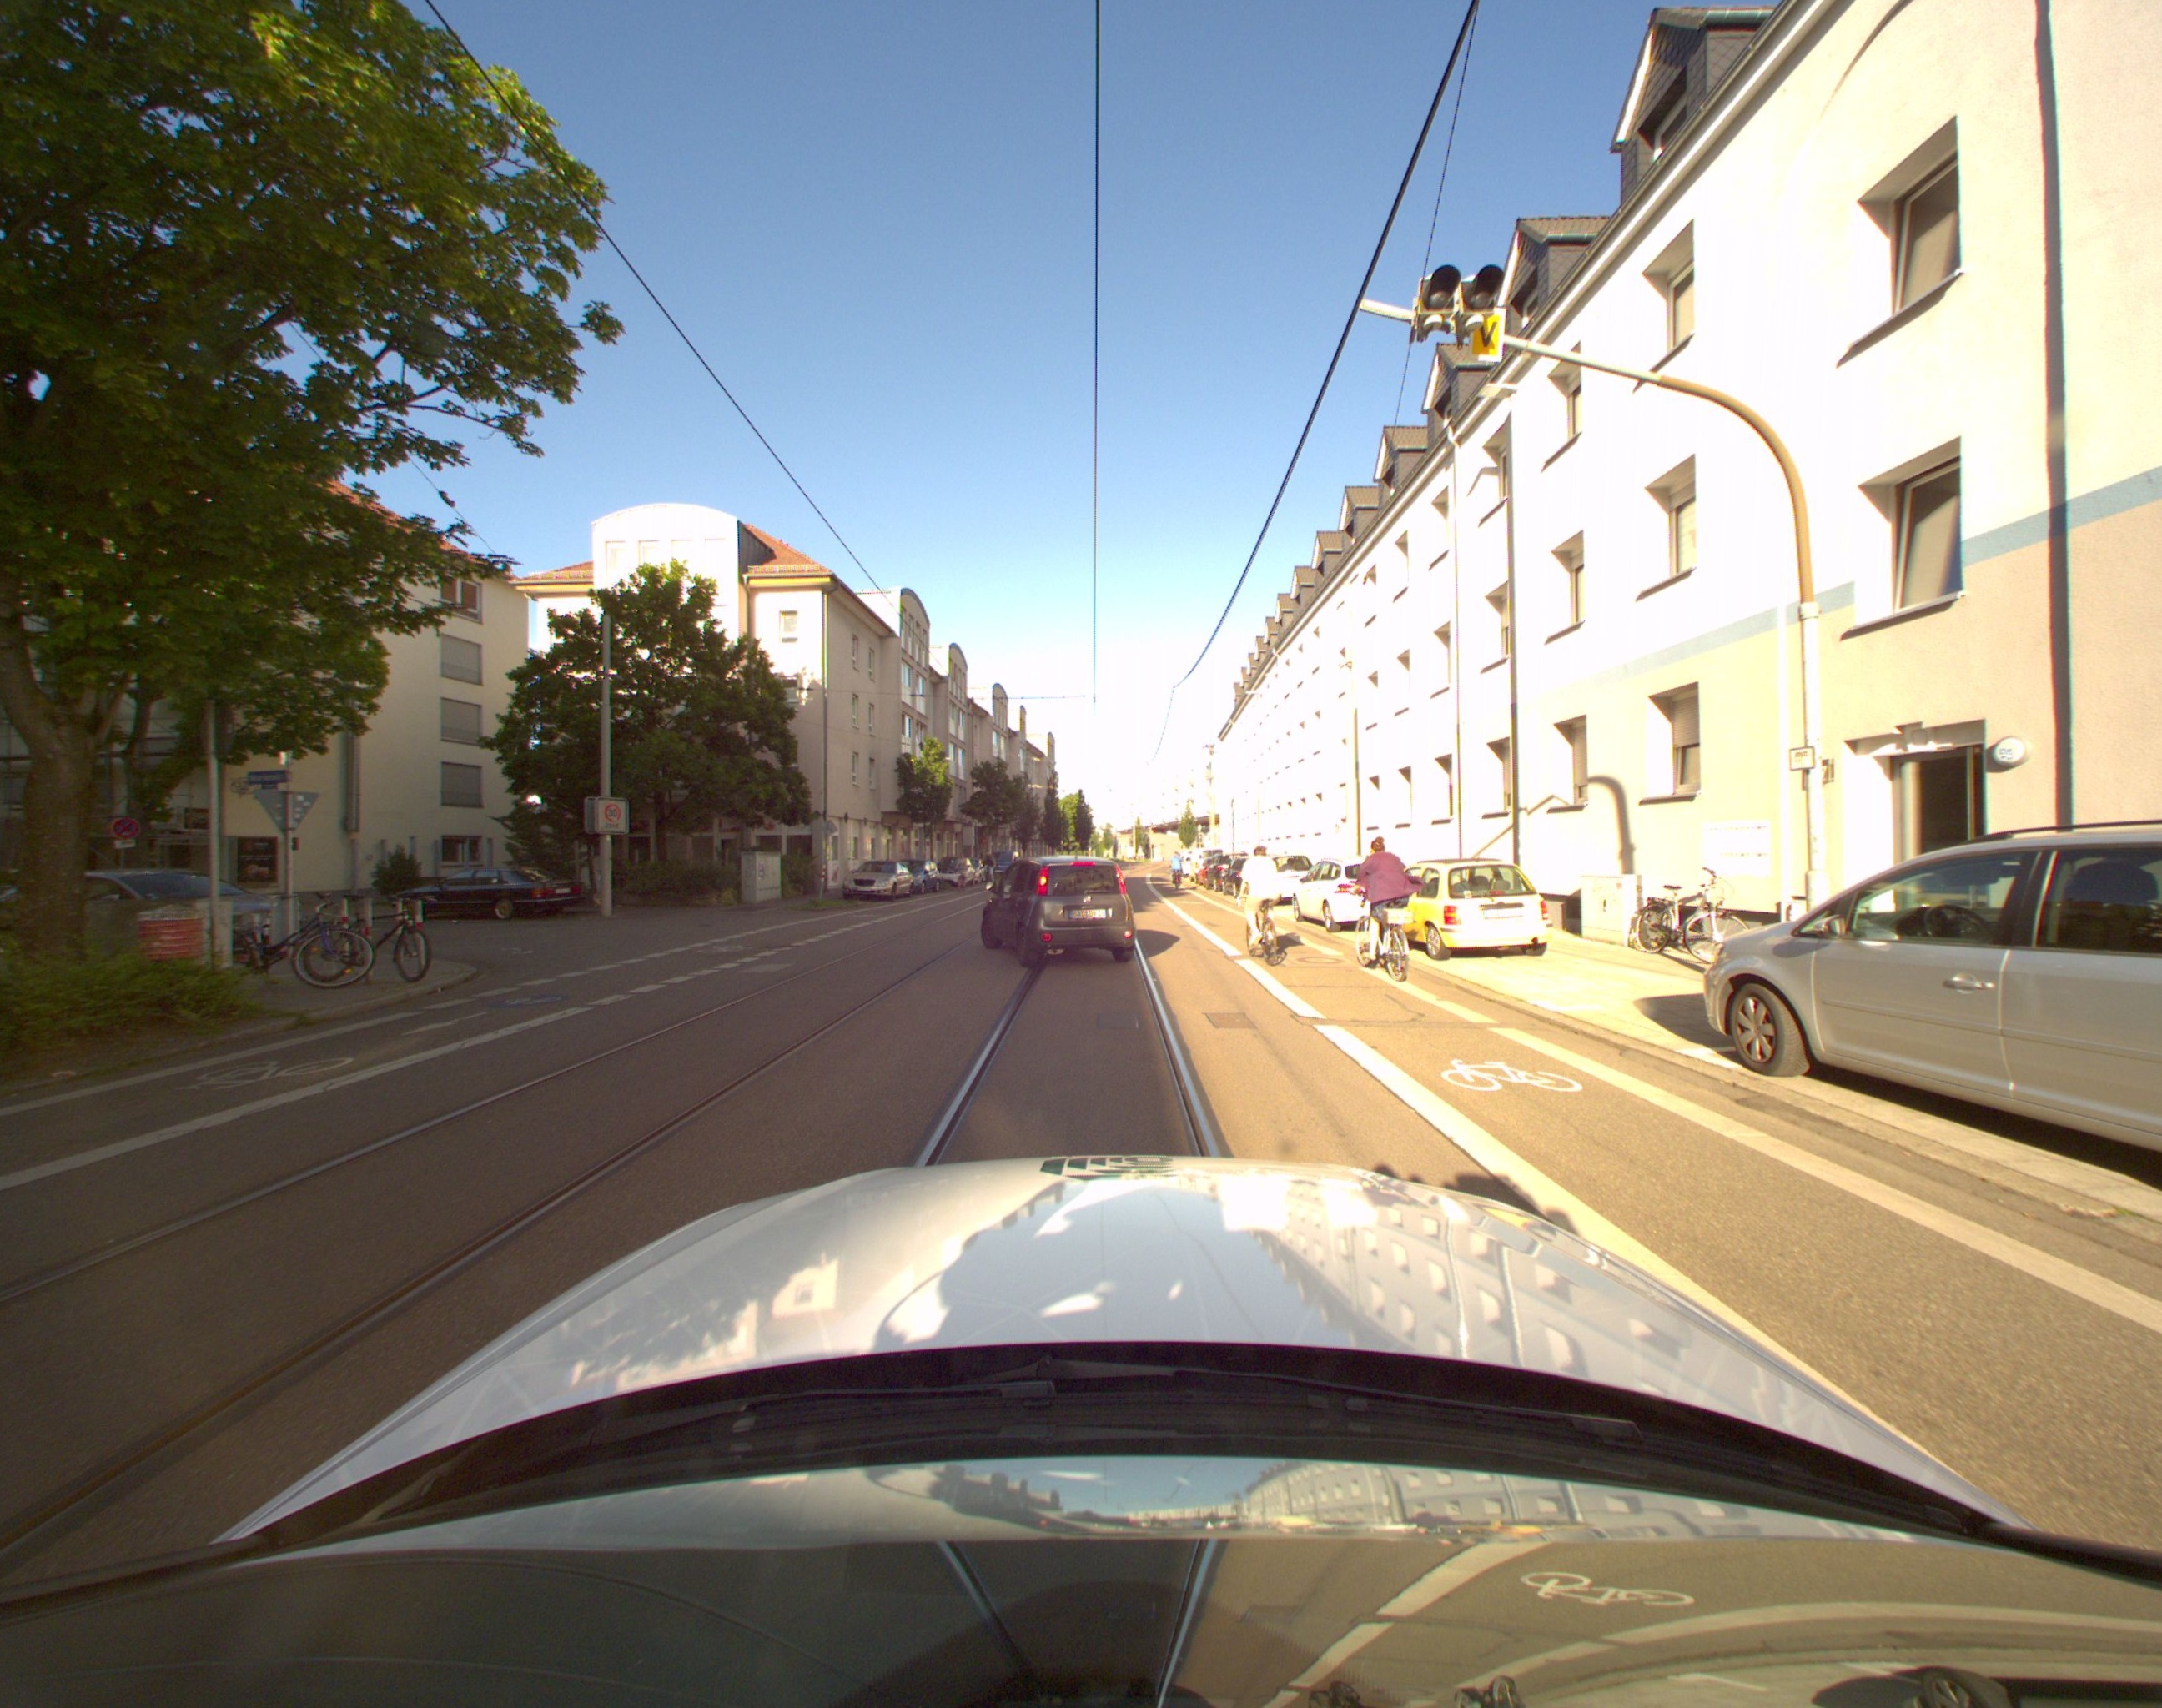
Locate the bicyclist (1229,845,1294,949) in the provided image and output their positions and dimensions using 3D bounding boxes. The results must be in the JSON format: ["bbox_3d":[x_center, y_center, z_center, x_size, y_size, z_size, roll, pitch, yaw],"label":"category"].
[{"bbox_3d":[2.634,0.611,11.981,0.725,1.462,1.021,0,0,1],"label":"bicyclist"}]

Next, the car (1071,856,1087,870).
[{"bbox_3d":[-0.286,1.121,103.186,1.836,1.646,3.700,-1,0,3],"label":"car"}]

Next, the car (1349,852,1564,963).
[{"bbox_3d":[5.655,0.706,12.863,1.508,1.430,4.202,-2,0,1],"label":"car"}]

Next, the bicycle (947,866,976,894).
[{"bbox_3d":[-5.616,1.206,38.413,0.836,1.149,2.233,-5,0,2],"label":"bicycle"}]

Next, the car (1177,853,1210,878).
[{"bbox_3d":[7.784,0.768,56.542,1.836,1.646,4.552,-1,0,3],"label":"car"}]

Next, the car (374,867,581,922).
[{"bbox_3d":[-16.282,1.069,22.070,4.531,1.388,1.717,-1,-1,6],"label":"car"}]

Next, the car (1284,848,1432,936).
[{"bbox_3d":[5.639,0.698,17.198,1.673,1.571,4.511,-2,0,2],"label":"car"}]

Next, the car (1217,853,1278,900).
[{"bbox_3d":[6.094,0.778,30.167,1.585,1.537,4.011,-3,0,3],"label":"car"}]

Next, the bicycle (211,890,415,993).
[{"bbox_3d":[-8.673,0.974,9.230,1.798,1.084,0.596,-1,0,3],"label":"bicycle"}]

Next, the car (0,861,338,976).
[{"bbox_3d":[-15.192,1.016,13.524,3.969,1.659,1.912,-1,2,4],"label":"car"}]

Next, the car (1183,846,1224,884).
[{"bbox_3d":[6.713,0.577,45.086,1.779,1.970,4.158,-2,0,3],"label":"car"}]

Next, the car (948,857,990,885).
[{"bbox_3d":[-6.718,0.975,49.179,1.823,1.593,4.001,-1,0,1],"label":"car"}]

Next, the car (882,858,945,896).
[{"bbox_3d":[-7.409,0.978,36.401,1.823,1.489,4.001,-2,0,1],"label":"car"}]

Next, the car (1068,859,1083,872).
[{"bbox_3d":[-0.606,1.348,96.786,1.585,1.540,3.193,-1,0,3],"label":"car"}]

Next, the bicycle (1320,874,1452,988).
[{"bbox_3d":[3.835,0.906,10.509,0.818,1.237,2.462,1,0,1],"label":"bicycle"}]

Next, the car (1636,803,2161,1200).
[{"bbox_3d":[5.372,0.591,4.217,1.750,1.665,4.624,-2,0,-1],"label":"car"}]

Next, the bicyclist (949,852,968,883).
[{"bbox_3d":[-5.733,0.624,38.171,0.621,1.380,0.868,-5,0,2],"label":"bicyclist"}]

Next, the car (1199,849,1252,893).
[{"bbox_3d":[6.196,0.705,35.263,1.654,1.669,3.906,-4,0,3],"label":"car"}]

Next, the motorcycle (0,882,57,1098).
[{"bbox_3d":[-8.273,0.934,5.365,1.966,1.447,0.719,-1,0,-6],"label":"motorcycle"}]

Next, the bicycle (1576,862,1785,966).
[{"bbox_3d":[7.864,0.729,10.885,1.092,1.197,2.327,-1,0,0],"label":"bicycle"}]

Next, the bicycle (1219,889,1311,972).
[{"bbox_3d":[2.626,1.055,11.974,0.736,0.924,2.837,2,0,1],"label":"bicycle"}]

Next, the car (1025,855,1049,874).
[{"bbox_3d":[-3.911,0.896,73.122,1.658,1.618,4.004,0,0,4],"label":"car"}]

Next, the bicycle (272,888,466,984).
[{"bbox_3d":[-8.586,0.979,9.857,1.869,1.084,0.596,-1,0,3],"label":"bicycle"}]

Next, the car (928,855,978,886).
[{"bbox_3d":[-6.915,0.872,44.373,1.822,1.593,4.004,-1,0,4],"label":"car"}]

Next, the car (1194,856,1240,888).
[{"bbox_3d":[6.660,0.837,40.280,1.788,1.483,3.781,-1,0,3],"label":"car"}]

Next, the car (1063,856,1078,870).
[{"bbox_3d":[-1.168,0.971,92.736,1.585,1.540,3.193,-1,0,3],"label":"car"}]

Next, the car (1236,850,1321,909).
[{"bbox_3d":[5.961,0.719,25.001,1.747,1.571,3.907,-4,0,3],"label":"car"}]

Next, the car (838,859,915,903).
[{"bbox_3d":[-7.559,0.950,30.491,1.738,1.443,4.001,2,0,1],"label":"car"}]

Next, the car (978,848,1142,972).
[{"bbox_3d":[-0.468,0.776,12.427,1.561,1.533,3.466,-3,-1,-17],"label":"car"}]

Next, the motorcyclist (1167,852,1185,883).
[{"bbox_3d":[4.278,0.604,36.752,0.725,1.405,1.021,0,0,1],"label":"motorcyclist"}]

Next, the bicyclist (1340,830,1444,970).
[{"bbox_3d":[3.877,0.552,10.232,0.931,1.676,0.970,0,0,1],"label":"bicyclist"}]
